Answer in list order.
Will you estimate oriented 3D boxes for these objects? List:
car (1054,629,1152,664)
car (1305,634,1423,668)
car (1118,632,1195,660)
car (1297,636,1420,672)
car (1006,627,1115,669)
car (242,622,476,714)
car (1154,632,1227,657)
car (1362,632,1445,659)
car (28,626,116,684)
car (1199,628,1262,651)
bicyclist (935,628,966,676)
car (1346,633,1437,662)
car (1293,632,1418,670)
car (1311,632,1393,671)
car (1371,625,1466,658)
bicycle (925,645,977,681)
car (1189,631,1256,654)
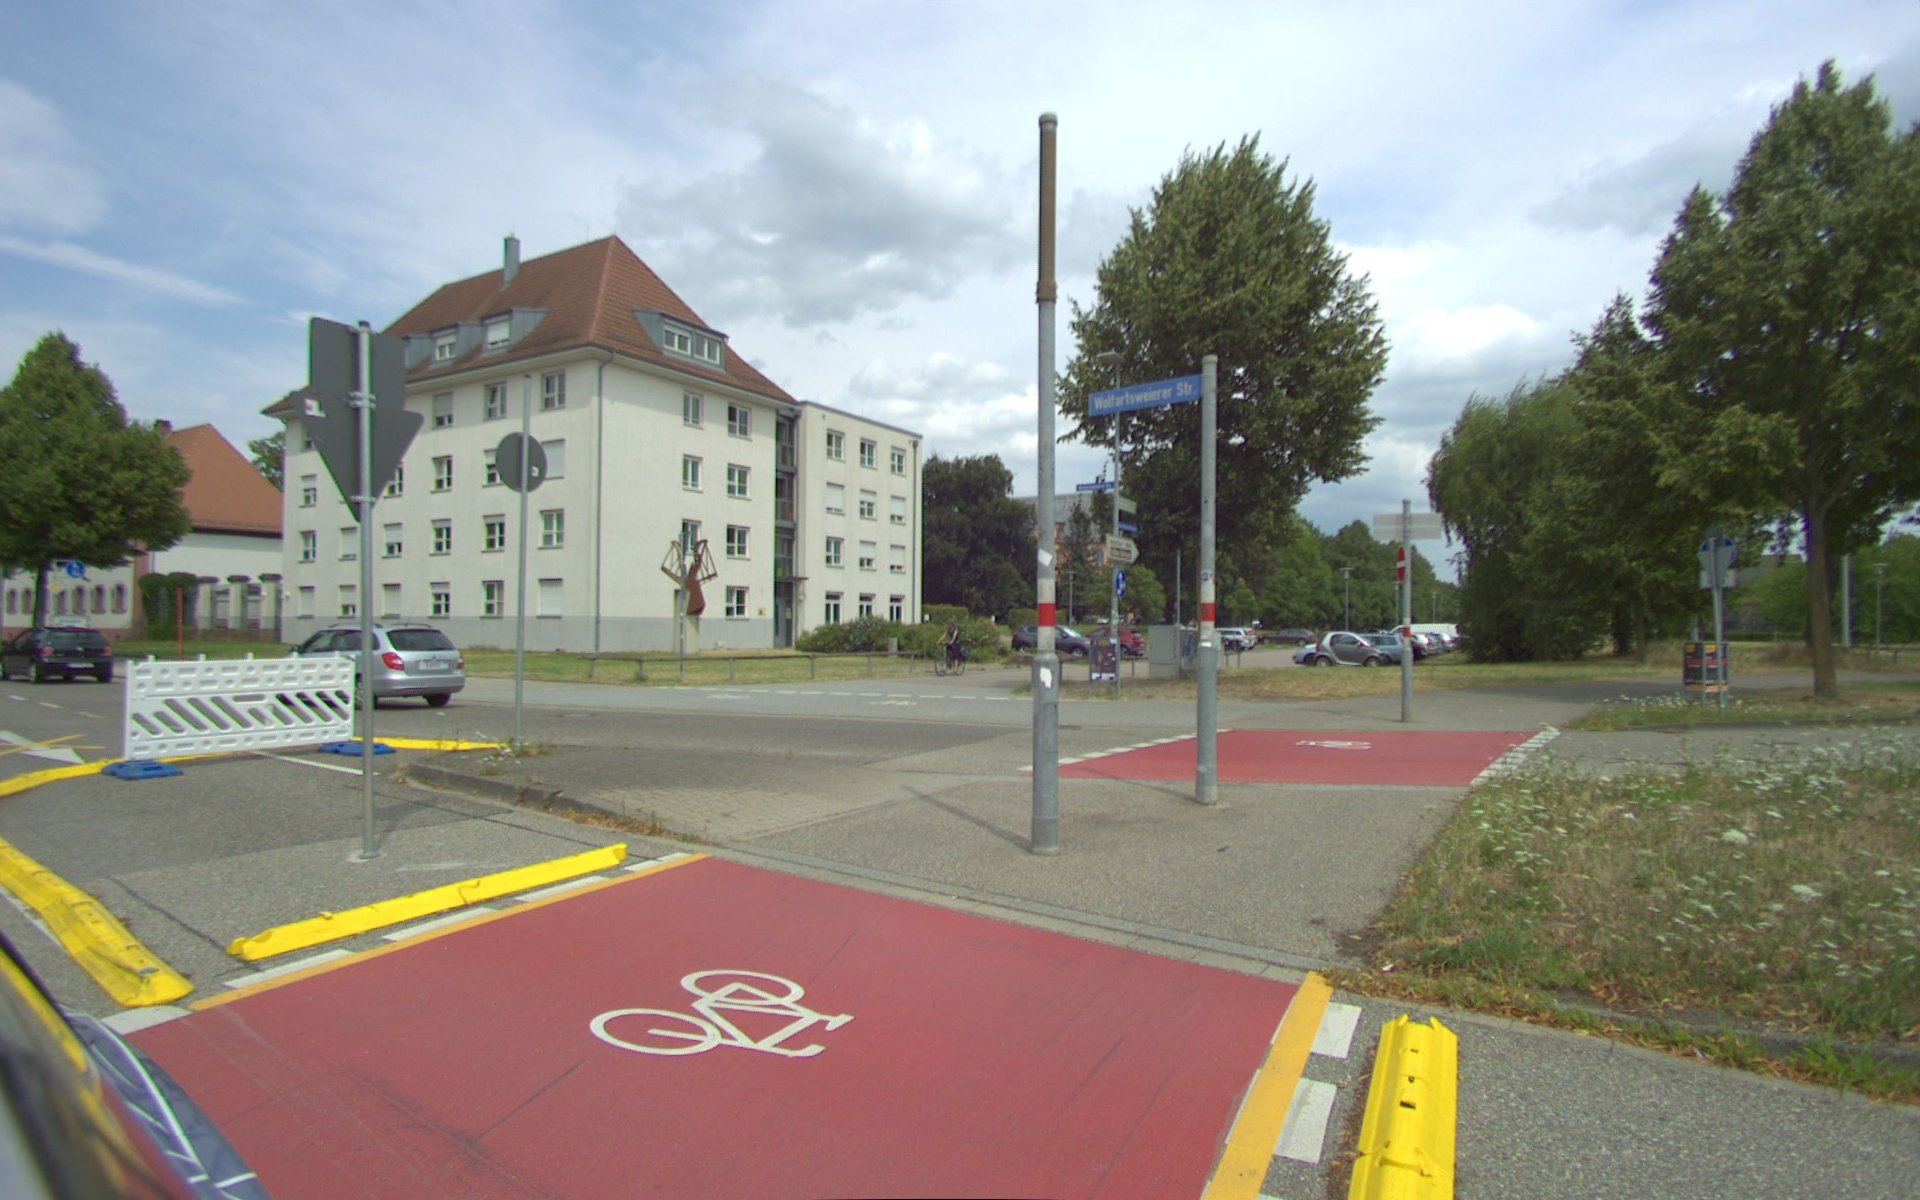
[{"bbox_3d":[7.041,2.248,49.959,4.393,1.610,1.978,-1,-2,32],"label":"car"},{"bbox_3d":[18.793,2.325,47.121,4.872,1.482,1.813,-1,-2,32],"label":"car"},{"bbox_3d":[10.991,2.551,56.726,3.992,1.479,1.598,-1,-2,30],"label":"car"},{"bbox_3d":[17.703,2.359,45.001,4.872,1.482,1.813,-1,-2,32],"label":"car"},{"bbox_3d":[4.462,2.114,45.161,4.483,1.778,1.979,-1,-2,30],"label":"car"},{"bbox_3d":[-11.013,1.177,18.505,4.195,1.530,1.615,-1,-2,25],"label":"car"},{"bbox_3d":[14.075,2.683,61.814,3.992,1.479,1.799,-1,-2,30],"label":"car"},{"bbox_3d":[26.221,2.678,59.897,4.297,1.482,1.813,-1,-2,32],"label":"car"},{"bbox_3d":[-23.564,1.455,26.872,1.606,1.426,3.727,3,-4,-41],"label":"car"},{"bbox_3d":[19.159,2.810,71.626,3.991,1.586,1.799,-1,-2,30],"label":"car"},{"bbox_3d":[-0.281,1.577,31.042,0.601,1.434,0.793,-2,-3,38],"label":"bicyclist"},{"bbox_3d":[23.630,2.584,55.440,4.372,1.482,1.813,-1,-2,32],"label":"car"},{"bbox_3d":[16.586,2.148,42.482,4.685,1.482,1.815,-3,-3,29],"label":"car"},{"bbox_3d":[15.566,2.046,40.165,2.899,1.434,1.471,-3,-4,25],"label":"car"},{"bbox_3d":[30.077,2.708,66.452,5.547,2.072,2.179,-1,-2,30],"label":"car"},{"bbox_3d":[-0.261,1.923,31.061,0.601,1.054,1.806,-2,-2,38],"label":"bicycle"},{"bbox_3d":[17.418,2.817,67.246,3.992,1.479,1.799,-1,-2,30],"label":"car"}]
